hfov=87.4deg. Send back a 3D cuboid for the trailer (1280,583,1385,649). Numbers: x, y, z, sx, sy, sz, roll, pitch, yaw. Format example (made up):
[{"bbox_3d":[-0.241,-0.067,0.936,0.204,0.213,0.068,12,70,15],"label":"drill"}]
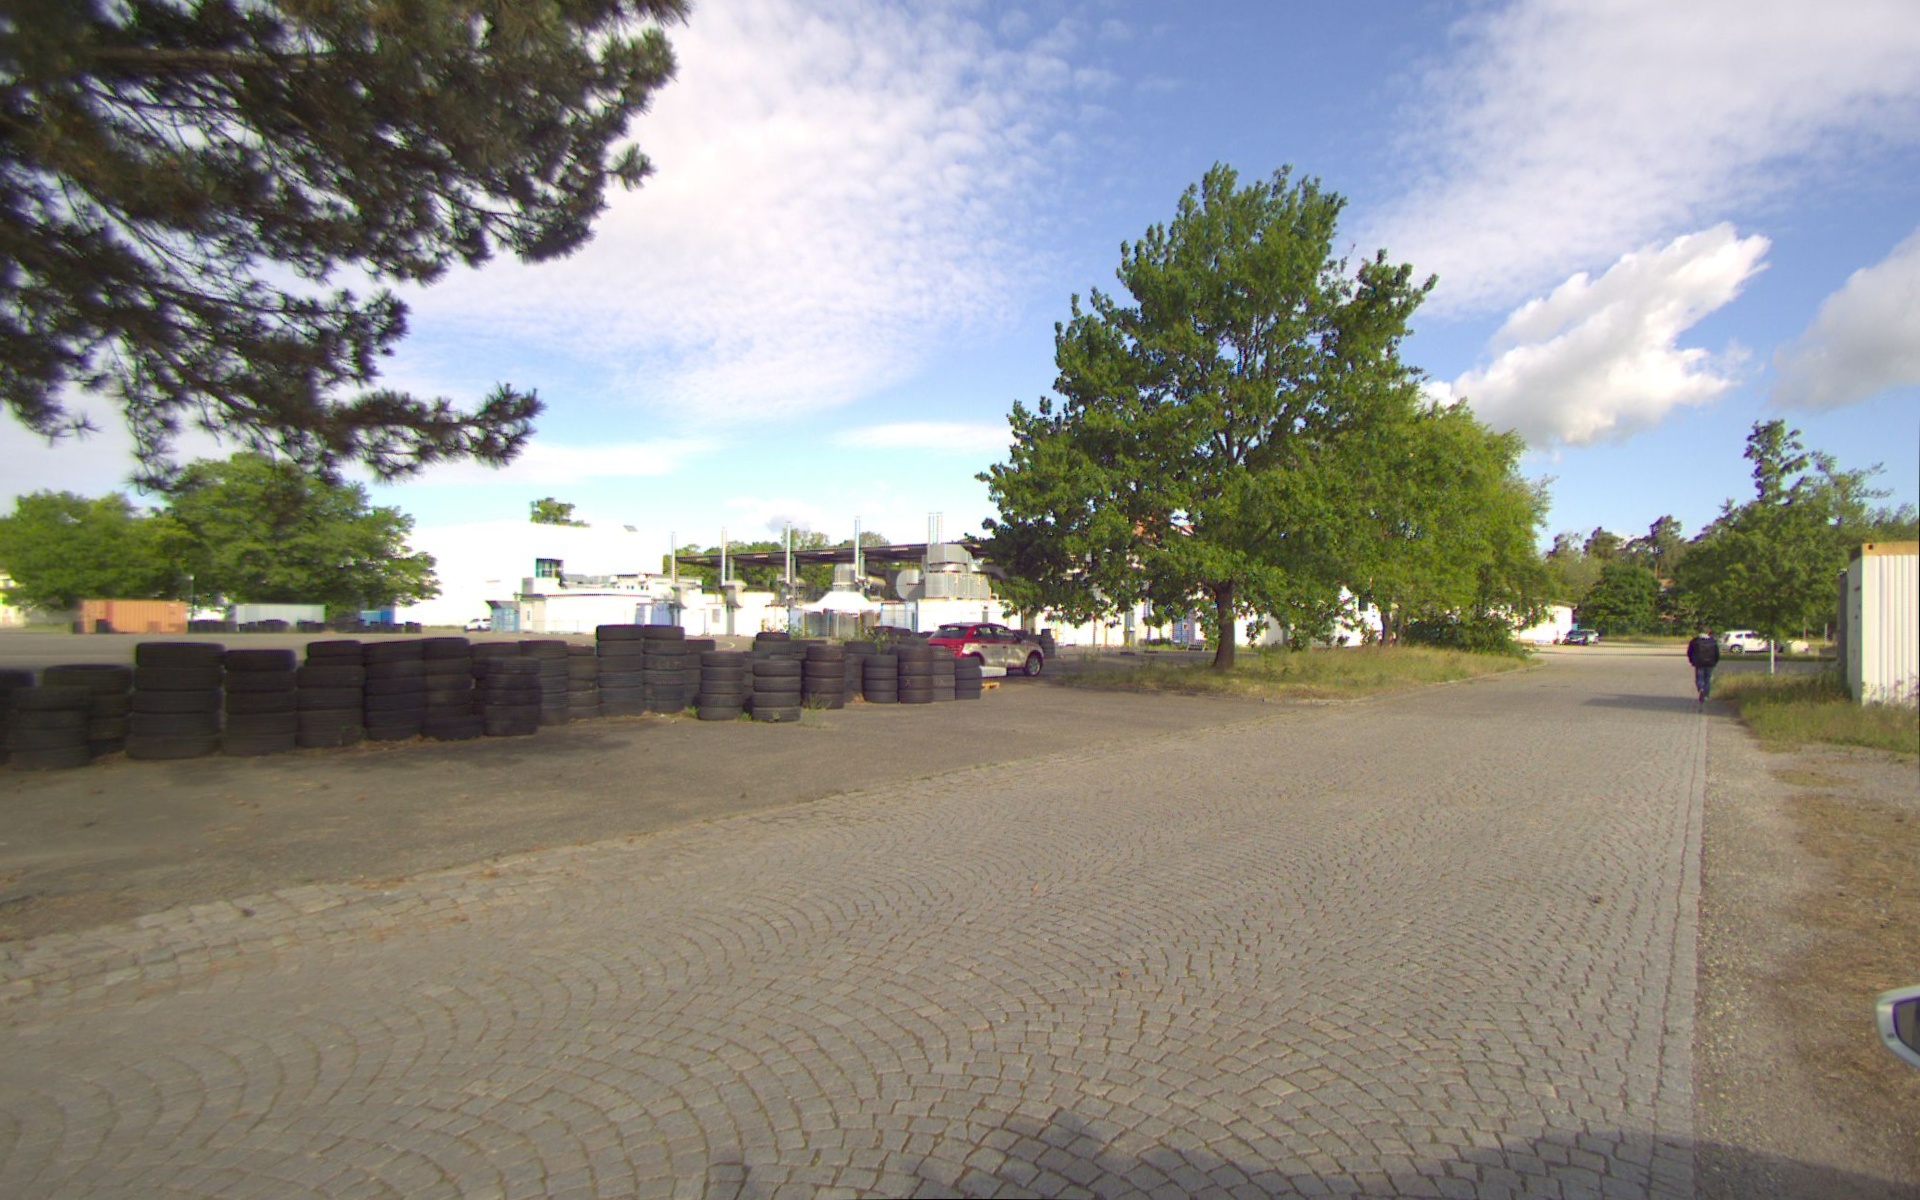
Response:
[{"bbox_3d":[21.905,0.990,58.705,2.881,3.517,9.859,0,-1,38],"label":"trailer"}]

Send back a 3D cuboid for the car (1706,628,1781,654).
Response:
[{"bbox_3d":[53.796,2.768,69.033,3.943,1.664,1.989,0,-1,43],"label":"car"}]

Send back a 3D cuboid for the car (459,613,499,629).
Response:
[{"bbox_3d":[-51.100,2.235,106.680,4.472,1.585,1.869,0,-1,35],"label":"car"}]

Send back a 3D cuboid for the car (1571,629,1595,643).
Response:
[{"bbox_3d":[64.465,3.688,103.957,1.965,1.394,3.992,0,-1,30],"label":"car"}]

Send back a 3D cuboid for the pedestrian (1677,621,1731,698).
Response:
[{"bbox_3d":[15.860,1.247,21.426,0.853,1.579,1.025,0,-1,33],"label":"pedestrian"}]

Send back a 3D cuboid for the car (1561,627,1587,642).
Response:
[{"bbox_3d":[58.447,3.267,95.675,1.965,1.389,3.992,0,-1,30],"label":"car"}]

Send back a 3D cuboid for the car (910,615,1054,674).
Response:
[{"bbox_3d":[0.648,1.181,27.285,1.704,1.483,3.977,0,-2,43],"label":"car"}]
